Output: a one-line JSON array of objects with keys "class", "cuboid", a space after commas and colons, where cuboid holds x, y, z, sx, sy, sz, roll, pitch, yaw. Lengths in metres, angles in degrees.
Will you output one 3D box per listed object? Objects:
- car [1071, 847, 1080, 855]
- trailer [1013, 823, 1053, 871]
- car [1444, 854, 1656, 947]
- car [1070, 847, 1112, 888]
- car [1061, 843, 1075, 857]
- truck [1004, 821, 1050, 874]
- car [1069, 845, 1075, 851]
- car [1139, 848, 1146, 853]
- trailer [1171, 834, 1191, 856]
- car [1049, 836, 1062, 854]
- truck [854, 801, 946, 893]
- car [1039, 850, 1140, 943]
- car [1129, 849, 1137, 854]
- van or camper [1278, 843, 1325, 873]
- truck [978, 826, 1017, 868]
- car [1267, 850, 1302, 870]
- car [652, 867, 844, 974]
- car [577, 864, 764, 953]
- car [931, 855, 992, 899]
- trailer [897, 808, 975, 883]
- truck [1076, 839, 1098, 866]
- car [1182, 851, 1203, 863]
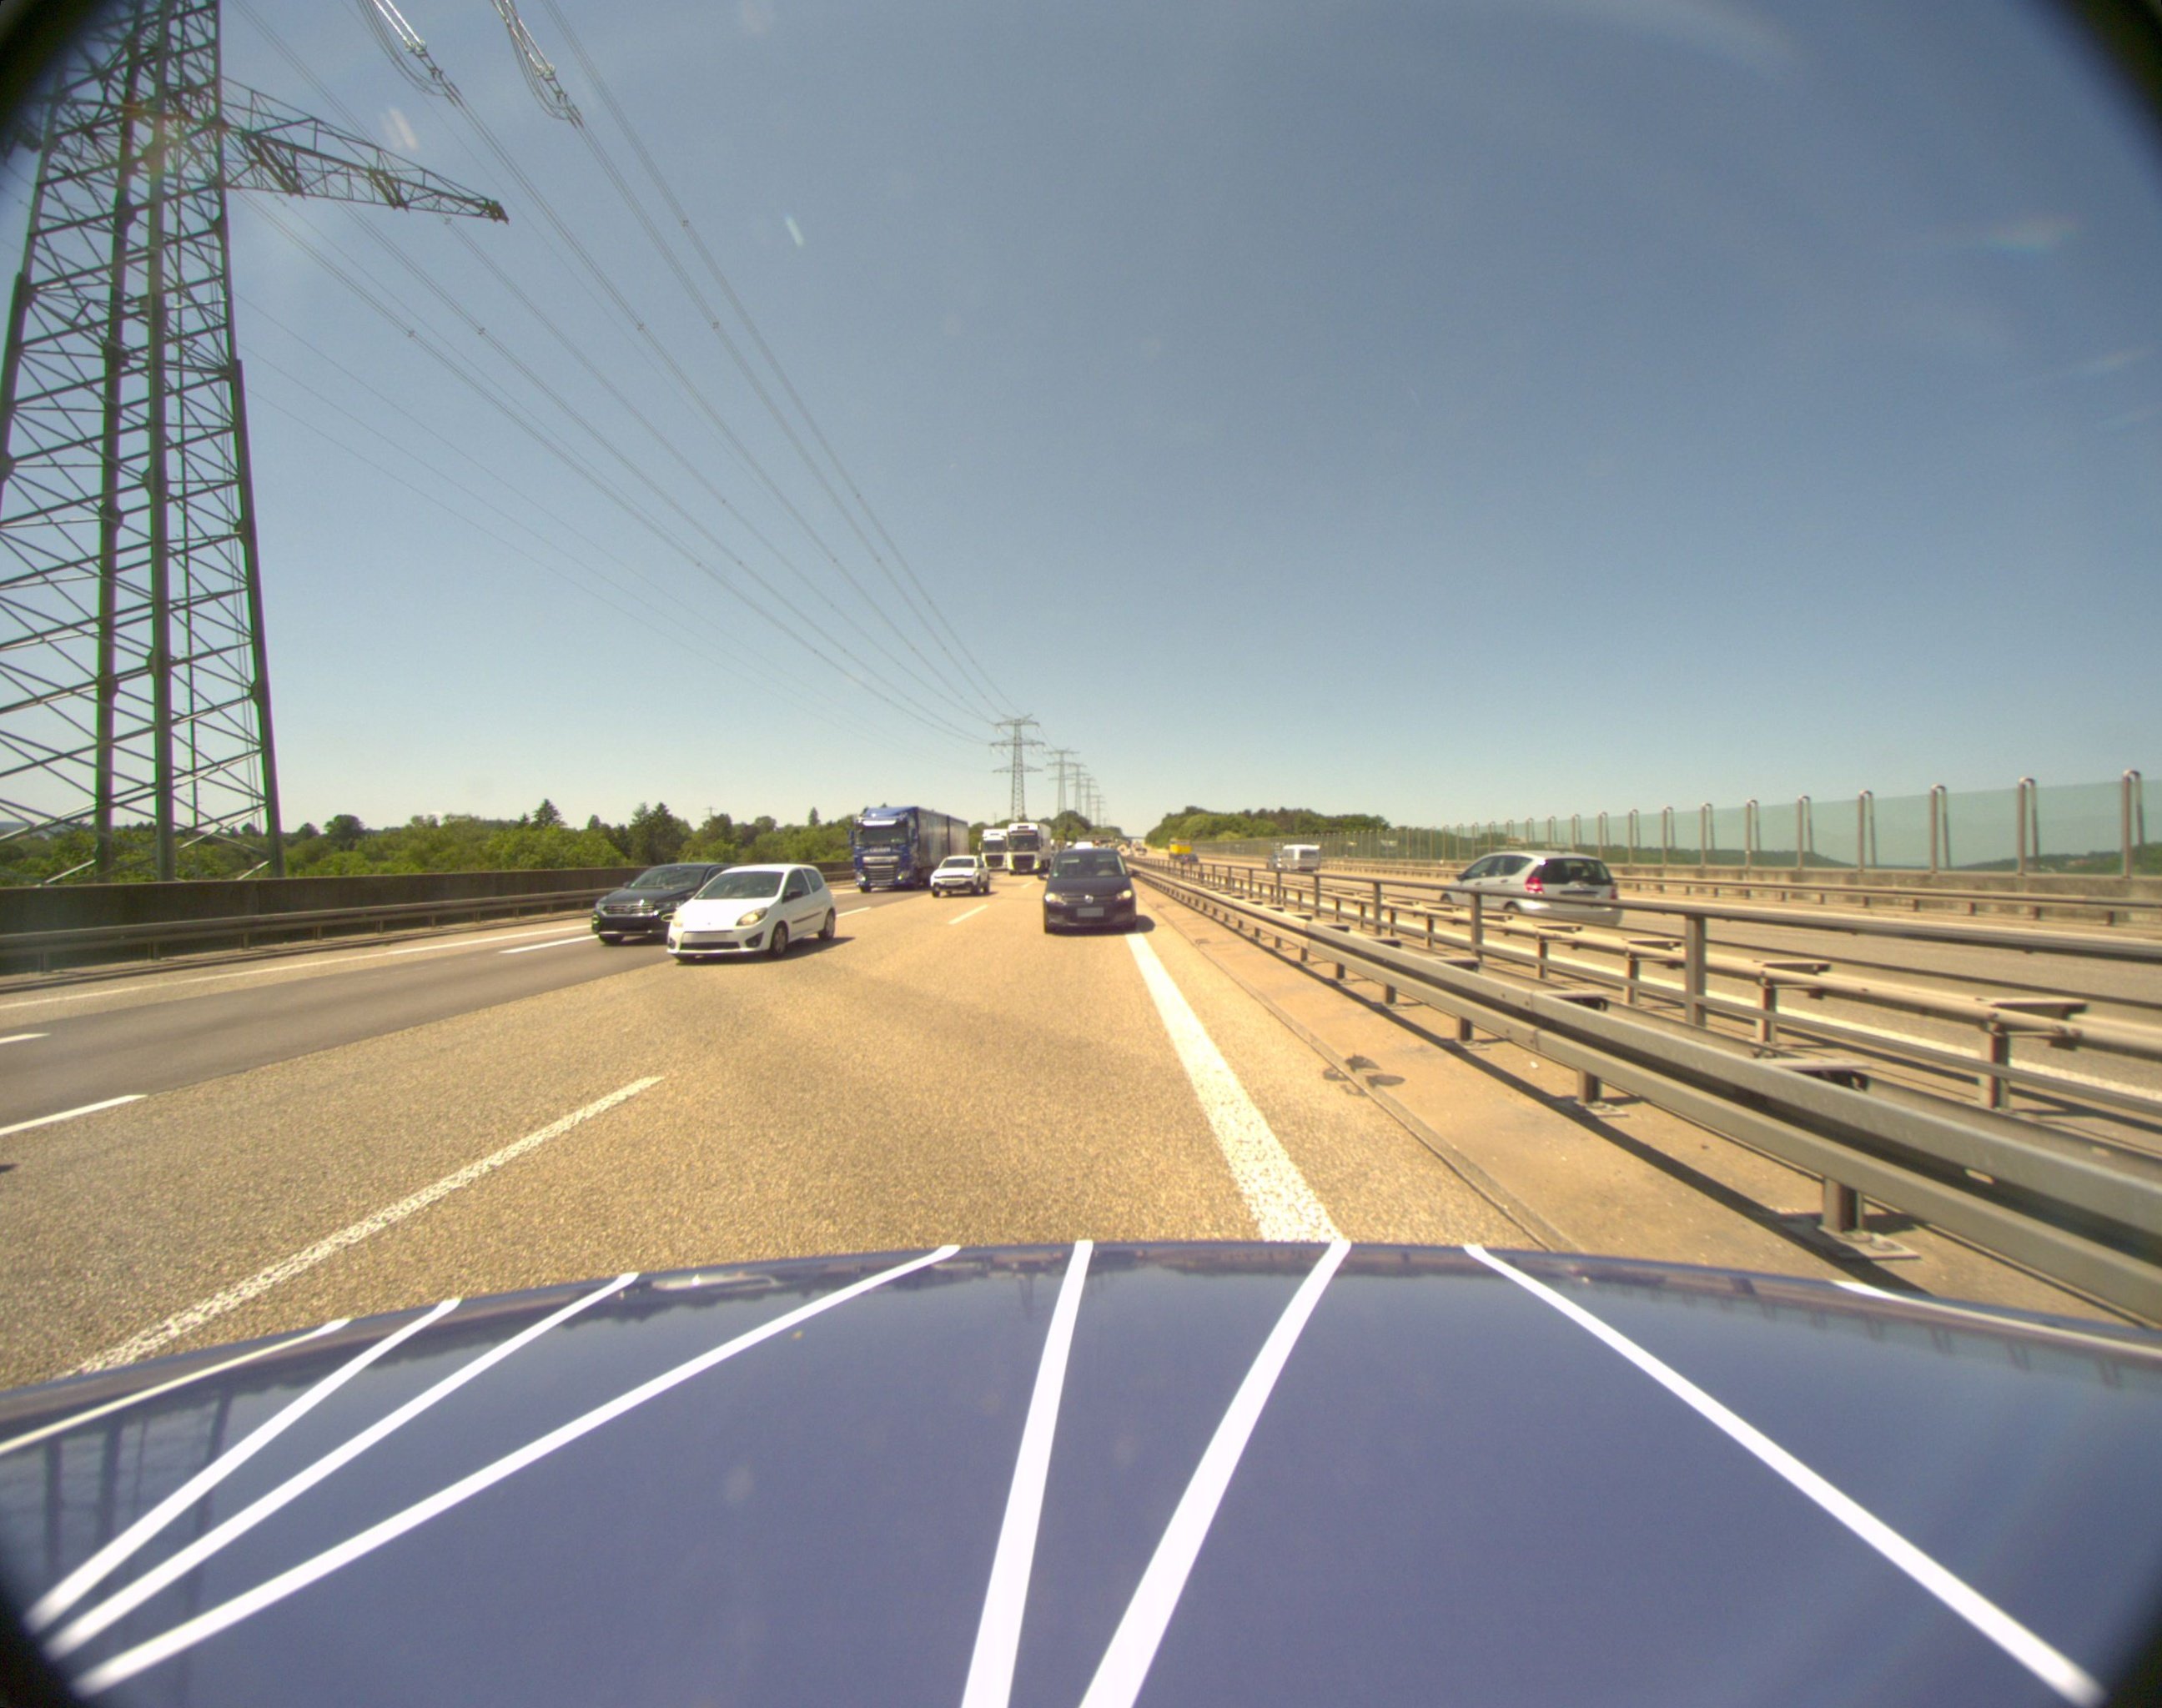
[{"class": "car", "cuboid": [-1.094, -0.579, 153.153, 1.701, 1.599, 3.639, -2, 1, 1]}, {"class": "trailer", "cuboid": [-4.160, -0.684, 67.956, 2.898, 3.847, 9.772, -2, 1, 0]}, {"class": "car", "cuboid": [8.664, 0.772, 14.446, 1.845, 1.520, 3.558, 0, 0, 1]}, {"class": "car", "cuboid": [0.401, 0.539, 32.761, 1.685, 1.607, 3.642, -2, 0, 0]}, {"class": "car", "cuboid": [-1.978, -0.679, 120.772, 1.998, 2.002, 3.999, -2, 1, 1]}, {"class": "truck", "cuboid": [-4.135, -0.542, 59.710, 2.914, 3.870, 6.739, -2, 1, 0]}, {"class": "car", "cuboid": [-2.697, -1.880, 235.112, 1.701, 1.599, 3.639, -2, 1, 1]}, {"class": "car", "cuboid": [17.071, -0.946, 210.600, 1.767, 1.374, 4.078, 0, 0, 0]}, {"class": "trailer", "cuboid": [19.191, -1.707, 146.504, 2.428, 4.040, 13.802, 0, 0, 2]}, {"class": "car", "cuboid": [-4.904, -1.743, 147.793, 2.273, 3.304, 6.288, -2, 1, 0]}, {"class": "truck", "cuboid": [-8.661, -0.325, 37.395, 2.517, 3.945, 7.926, -2, 0, 0]}, {"class": "car", "cuboid": [0.152, 0.745, 15.415, 1.739, 1.607, 3.911, -2, 0, 0]}, {"class": "car", "cuboid": [13.207, -0.684, 194.569, 1.762, 1.440, 4.286, 0, 0, 0]}, {"class": "van or camper", "cuboid": [17.322, 0.268, 59.912, 1.998, 2.199, 5.536, 1, 1, 0]}, {"class": "truck", "cuboid": [-8.074, -0.697, 74.144, 2.914, 3.870, 6.739, -2, 1, 0]}, {"class": "car", "cuboid": [17.330, 0.495, 64.811, 1.860, 1.536, 4.200, 1, 1, 0]}, {"class": "car", "cuboid": [-5.458, 1.015, 12.968, 1.583, 1.432, 3.629, -2, 1, 1]}, {"class": "car", "cuboid": [-8.334, 1.023, 15.874, 1.709, 1.497, 3.888, -2, 1, 1]}, {"class": "car", "cuboid": [-4.598, 0.839, 29.686, 1.722, 1.526, 3.753, -2, 0, 0]}, {"class": "trailer", "cuboid": [-8.648, -0.536, 46.796, 2.543, 3.971, 10.883, -2, 1, 0]}, {"class": "truck", "cuboid": [0.664, -0.157, 81.398, 2.100, 2.700, 5.864, -2, 1, 1]}, {"class": "car", "cuboid": [13.608, 0.350, 92.947, 1.860, 1.389, 4.675, 0, 0, 1]}]
